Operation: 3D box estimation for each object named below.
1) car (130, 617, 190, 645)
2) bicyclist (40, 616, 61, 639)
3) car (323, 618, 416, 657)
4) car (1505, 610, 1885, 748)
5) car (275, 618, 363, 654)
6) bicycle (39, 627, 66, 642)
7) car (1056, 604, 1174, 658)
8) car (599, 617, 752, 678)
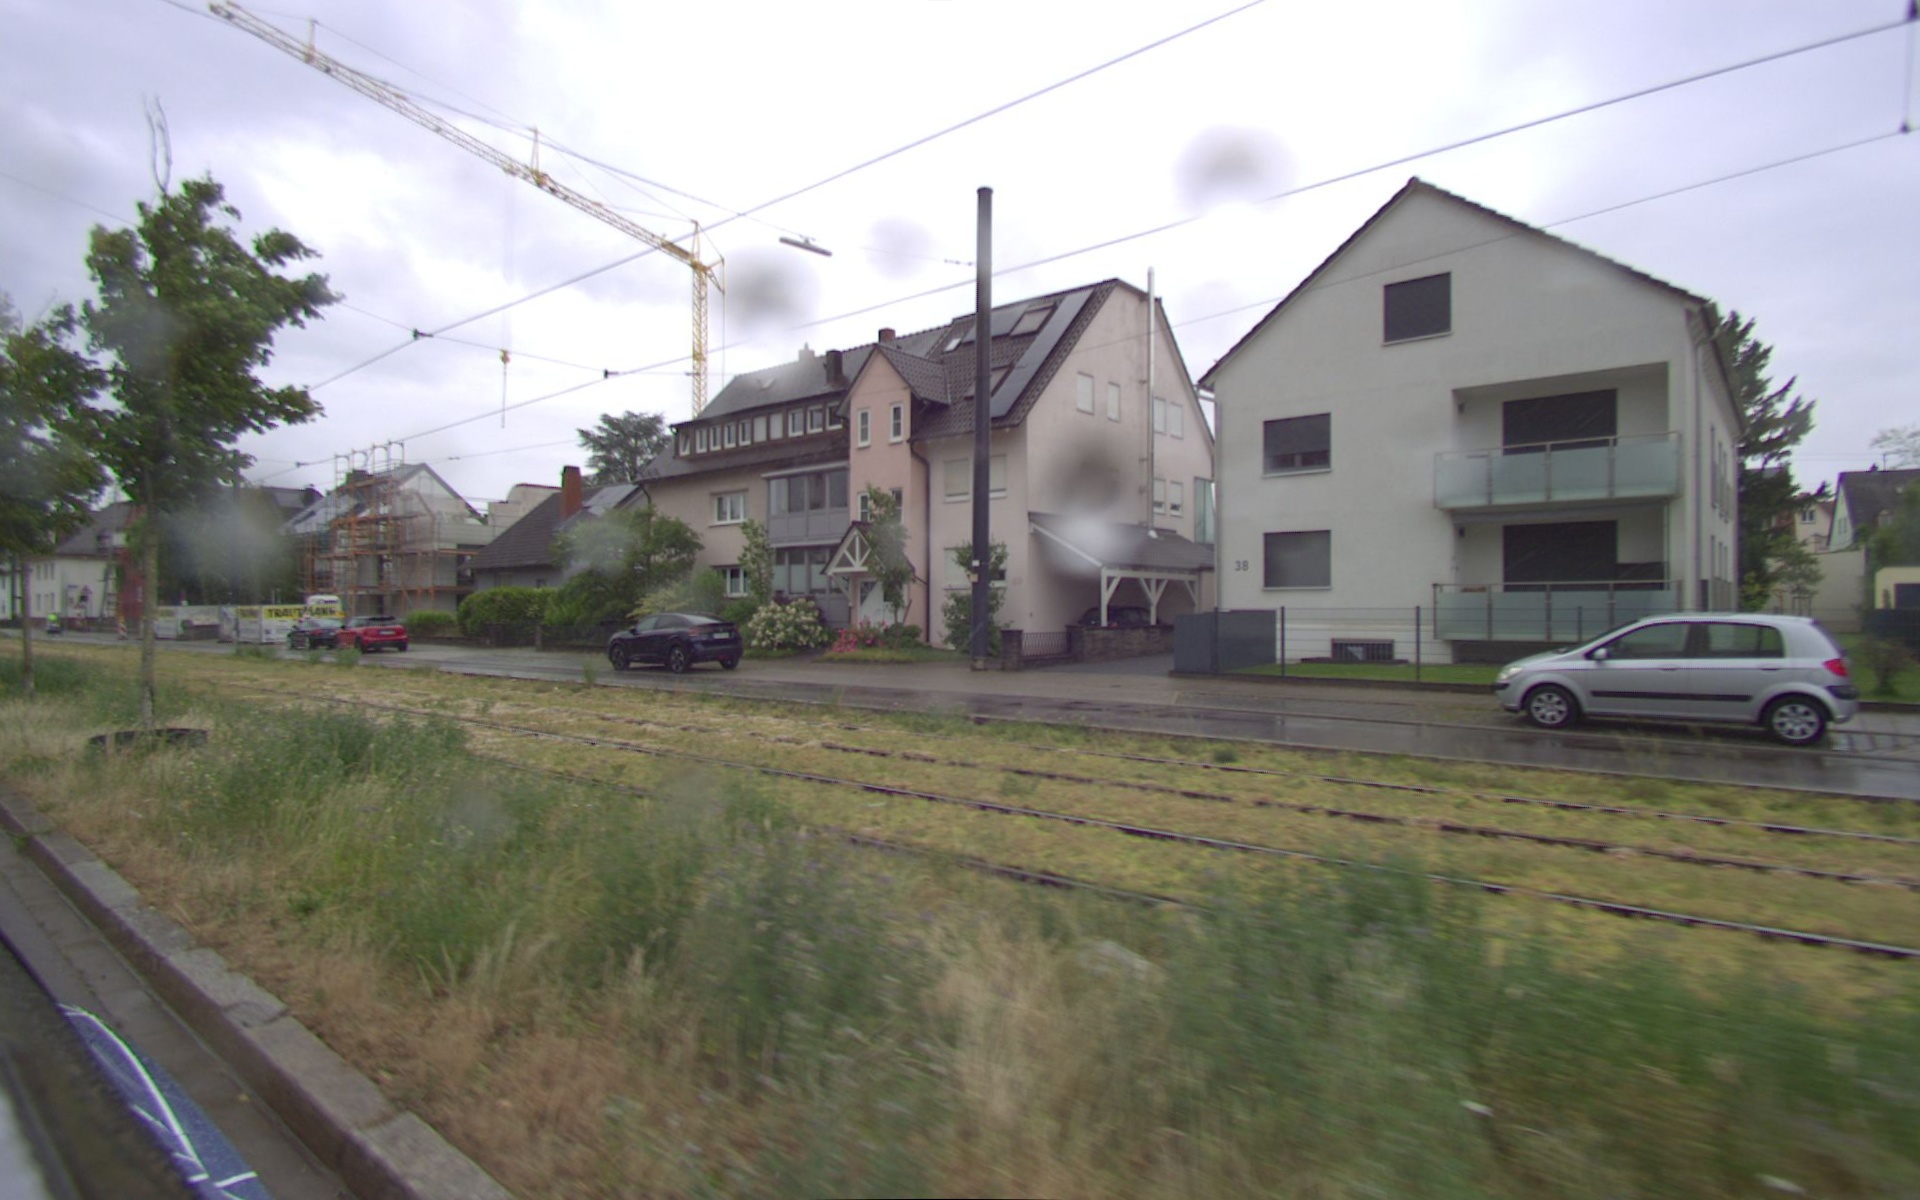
[{"bbox_3d":[-50.266,1.916,63.549,4.245,1.640,1.975,0,1,38],"label":"car"},{"bbox_3d":[-66.847,2.003,74.408,1.399,1.596,0.944,0,0,39],"label":"bicyclist"},{"bbox_3d":[-23.478,1.454,40.187,3.839,1.383,1.974,0,1,39],"label":"car"},{"bbox_3d":[9.106,0.865,12.767,3.654,1.424,1.974,0,1,39],"label":"car"},{"bbox_3d":[-27.476,1.553,43.327,4.170,1.420,1.974,-3,-1,39],"label":"car"},{"bbox_3d":[-66.430,2.488,74.083,3.430,1.051,0.925,-1,-2,38],"label":"bicycle"},{"bbox_3d":[4.832,0.898,31.236,1.840,1.512,3.947,0,1,40],"label":"car"},{"bbox_3d":[-7.526,1.213,26.610,4.170,1.437,1.819,-2,-1,39],"label":"car"}]
